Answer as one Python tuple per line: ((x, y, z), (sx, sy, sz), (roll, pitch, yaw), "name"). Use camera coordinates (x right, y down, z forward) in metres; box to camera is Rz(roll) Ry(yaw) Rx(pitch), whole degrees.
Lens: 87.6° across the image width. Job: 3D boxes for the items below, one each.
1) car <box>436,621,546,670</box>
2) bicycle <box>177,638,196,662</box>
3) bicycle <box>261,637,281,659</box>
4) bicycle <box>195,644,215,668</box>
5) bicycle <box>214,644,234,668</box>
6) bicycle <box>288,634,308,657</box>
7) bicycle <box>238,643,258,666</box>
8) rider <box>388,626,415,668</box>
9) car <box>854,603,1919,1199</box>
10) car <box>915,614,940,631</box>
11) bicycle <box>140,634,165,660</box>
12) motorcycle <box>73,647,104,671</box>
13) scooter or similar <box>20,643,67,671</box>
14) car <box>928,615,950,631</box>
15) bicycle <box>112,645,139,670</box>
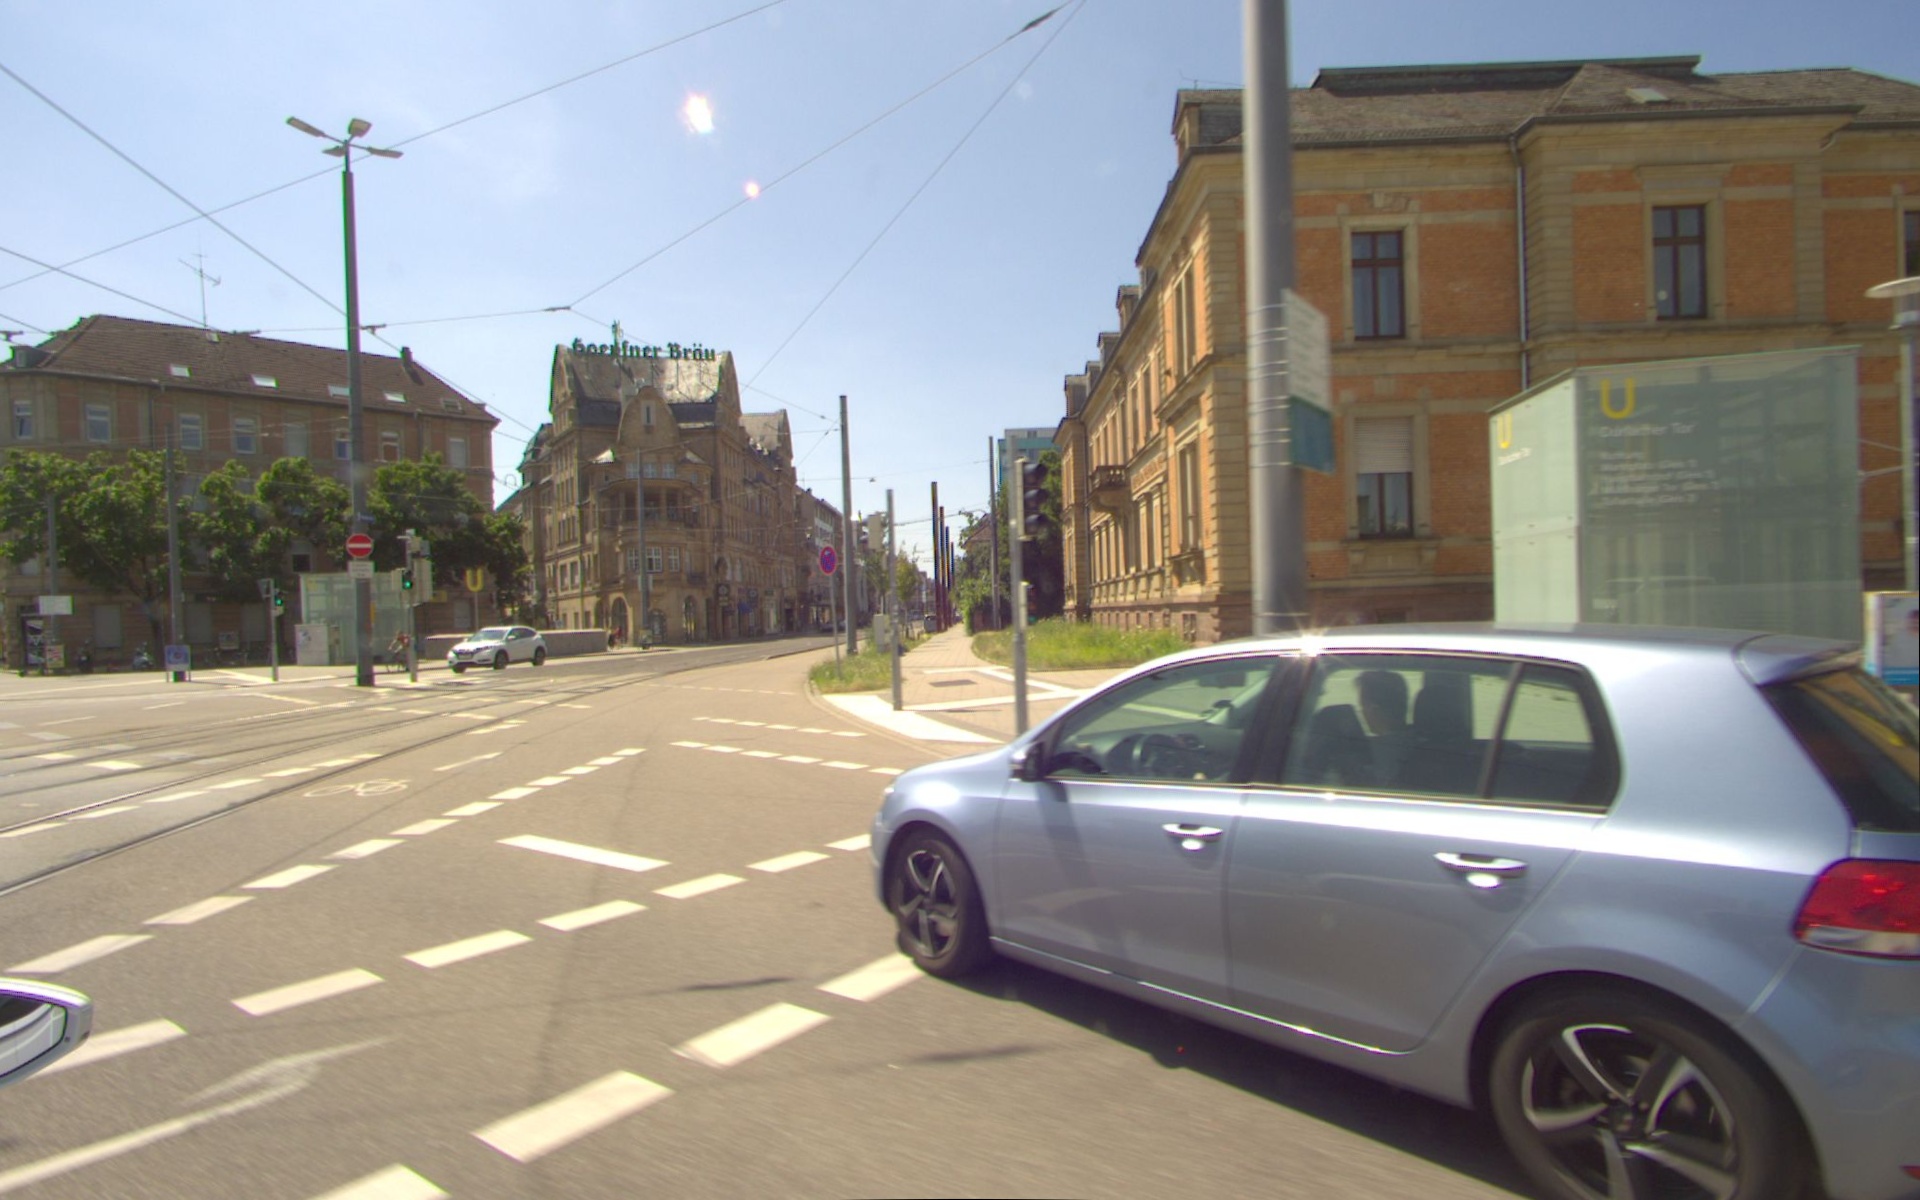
((-17.026, 1.614, 36.554), (1.662, 1.626, 4.193), (-2, -1, 6), "car")
((-37.525, 2.419, 48.584), (0.547, 1.134, 1.803), (-2, 0, -43), "bicycle")
((-35.678, 2.483, 51.850), (0.547, 1.134, 1.911), (-2, 0, -43), "bicycle")
((-36.939, 2.752, 48.982), (0.547, 1.134, 1.803), (-2, -1, -43), "bicycle")
((-36.464, 2.770, 49.576), (0.547, 1.134, 1.871), (-2, -1, -43), "bicycle")
((-34.860, 2.390, 52.700), (0.547, 1.134, 1.803), (-2, -1, -43), "bicycle")
((-36.267, 2.752, 50.985), (0.547, 1.134, 1.853), (-2, 0, -43), "bicycle")
((-22.462, 1.882, 40.273), (0.553, 1.622, 0.875), (-2, 0, -2), "rider")
((1.466, 0.818, 3.536), (1.640, 1.477, 3.968), (1, -3, -42), "car")
((-3.081, 2.203, 96.527), (1.961, 1.471, 4.003), (-2, -3, 4), "car")
((-38.592, 2.251, 47.828), (2.068, 1.160, 0.441), (-4, -3, 37), "bicycle")
((-39.743, 2.686, 45.649), (1.920, 1.088, 0.578), (-2, 0, 34), "motorcycle")
((-42.480, 2.633, 46.437), (0.588, 1.196, 1.792), (-2, -1, -4), "scooter or similar")
((-2.198, 2.406, 104.868), (1.961, 1.471, 4.003), (-2, -3, 4), "car")
((-38.984, 2.692, 46.770), (1.797, 1.134, 0.549), (-2, 0, 37), "bicycle")
